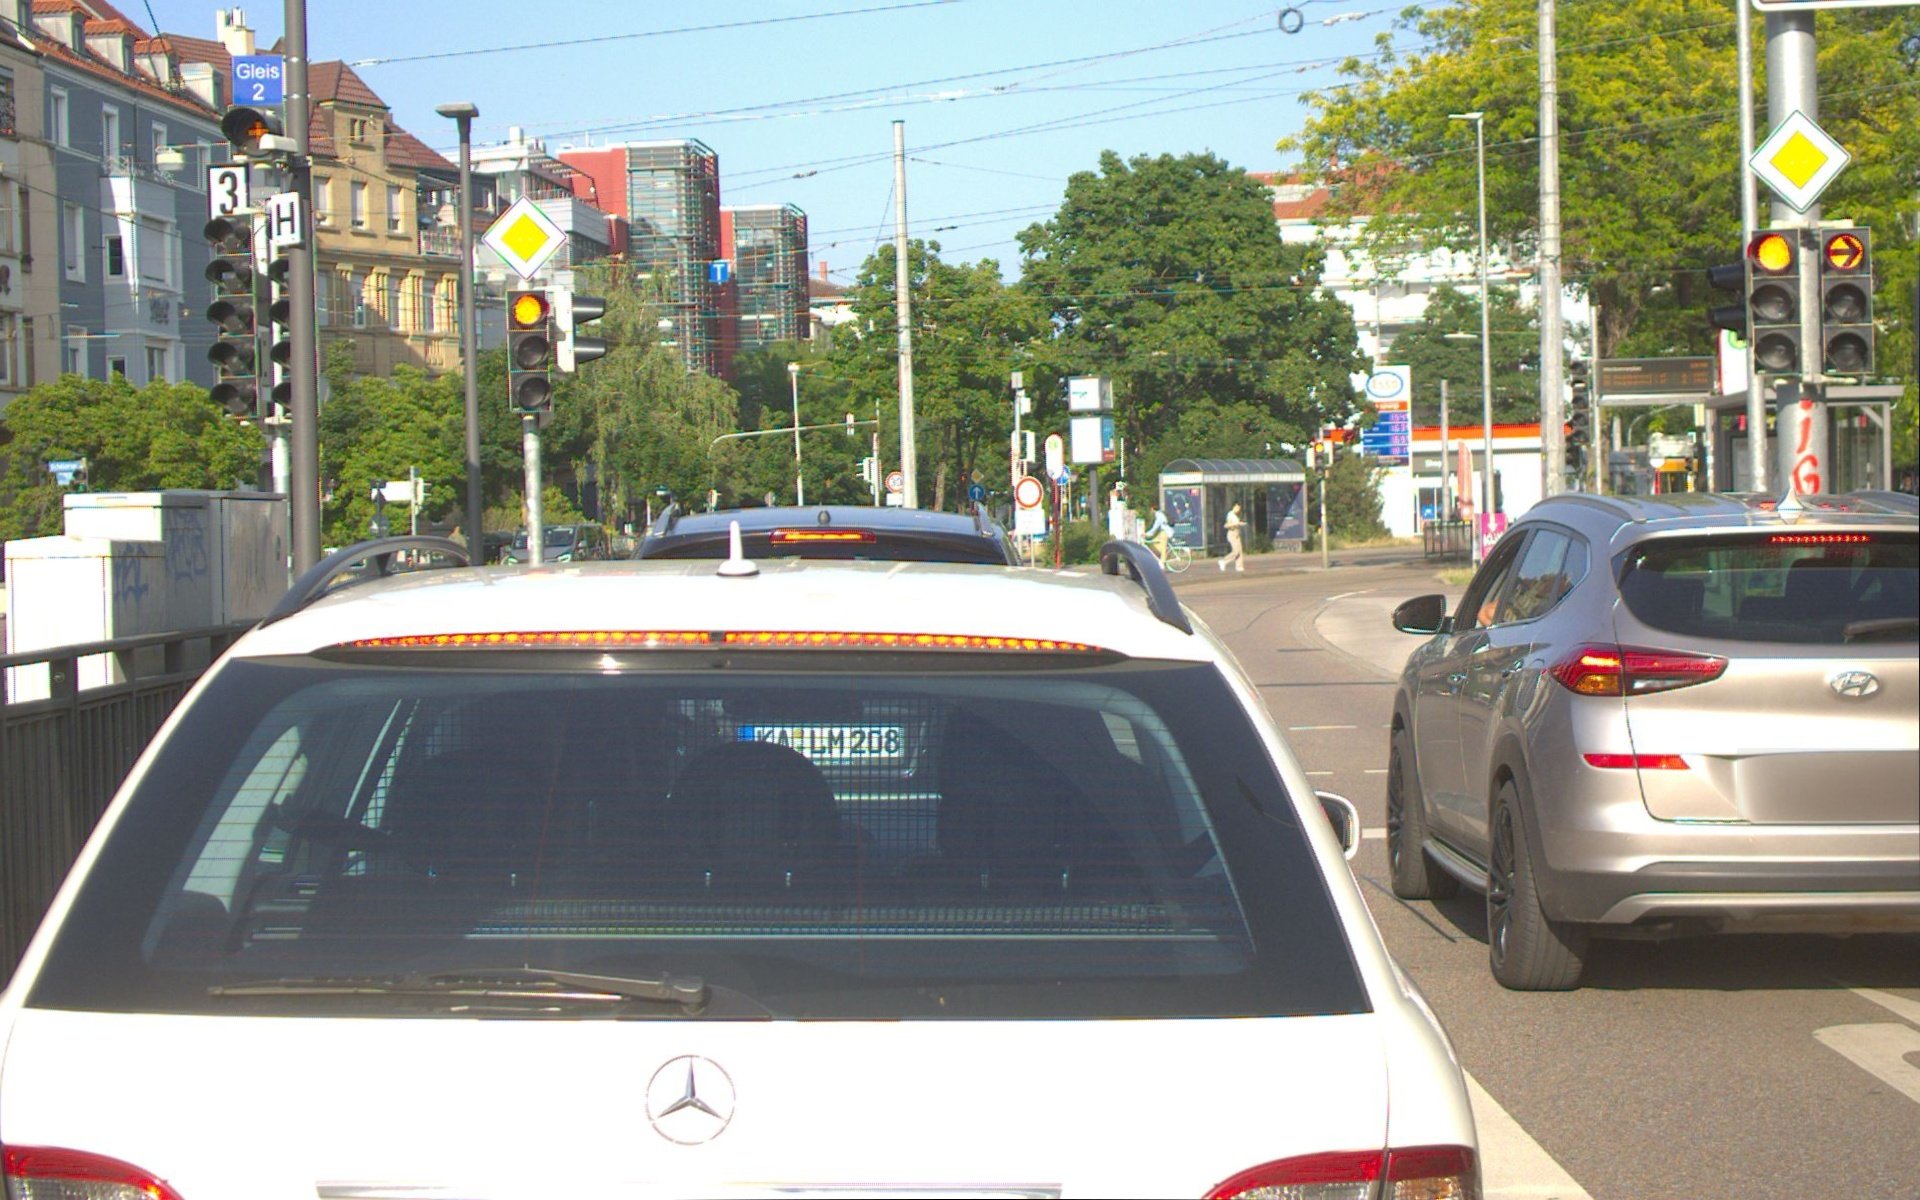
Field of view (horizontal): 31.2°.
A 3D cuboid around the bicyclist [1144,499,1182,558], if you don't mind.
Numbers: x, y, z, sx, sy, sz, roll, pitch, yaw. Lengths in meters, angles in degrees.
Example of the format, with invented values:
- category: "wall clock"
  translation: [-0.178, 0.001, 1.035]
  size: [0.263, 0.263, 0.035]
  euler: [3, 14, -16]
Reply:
- category: "bicyclist"
  translation: [5.152, -1.810, 87.206]
  size: [0.861, 1.476, 0.789]
  euler: [-1, 1, 9]

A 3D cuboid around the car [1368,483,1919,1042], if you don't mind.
- category: "car"
  translation: [2.637, 0.440, 12.154]
  size: [1.885, 1.645, 3.648]
  euler: [-2, 1, 0]

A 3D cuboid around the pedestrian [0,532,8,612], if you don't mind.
- category: "pedestrian"
  translation: [-20.207, -0.582, 71.436]
  size: [0.619, 1.654, 0.586]
  euler: [-2, 1, 2]

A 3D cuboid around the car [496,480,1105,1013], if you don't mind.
- category: "car"
  translation: [-0.515, 0.422, 12.587]
  size: [1.885, 1.645, 3.648]
  euler: [1, 1, 0]

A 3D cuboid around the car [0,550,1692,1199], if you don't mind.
- category: "car"
  translation: [-0.263, 0.673, 4.966]
  size: [1.796, 1.465, 3.648]
  euler: [0, 1, -1]

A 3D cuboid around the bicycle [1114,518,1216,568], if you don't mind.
- category: "bicycle"
  translation: [5.205, -1.443, 87.187]
  size: [2.483, 1.209, 0.806]
  euler: [-1, 1, 8]

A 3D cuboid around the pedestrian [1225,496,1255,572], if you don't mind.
- category: "pedestrian"
  translation: [6.881, -1.626, 84.485]
  size: [0.642, 1.850, 0.551]
  euler: [-1, 1, 11]
